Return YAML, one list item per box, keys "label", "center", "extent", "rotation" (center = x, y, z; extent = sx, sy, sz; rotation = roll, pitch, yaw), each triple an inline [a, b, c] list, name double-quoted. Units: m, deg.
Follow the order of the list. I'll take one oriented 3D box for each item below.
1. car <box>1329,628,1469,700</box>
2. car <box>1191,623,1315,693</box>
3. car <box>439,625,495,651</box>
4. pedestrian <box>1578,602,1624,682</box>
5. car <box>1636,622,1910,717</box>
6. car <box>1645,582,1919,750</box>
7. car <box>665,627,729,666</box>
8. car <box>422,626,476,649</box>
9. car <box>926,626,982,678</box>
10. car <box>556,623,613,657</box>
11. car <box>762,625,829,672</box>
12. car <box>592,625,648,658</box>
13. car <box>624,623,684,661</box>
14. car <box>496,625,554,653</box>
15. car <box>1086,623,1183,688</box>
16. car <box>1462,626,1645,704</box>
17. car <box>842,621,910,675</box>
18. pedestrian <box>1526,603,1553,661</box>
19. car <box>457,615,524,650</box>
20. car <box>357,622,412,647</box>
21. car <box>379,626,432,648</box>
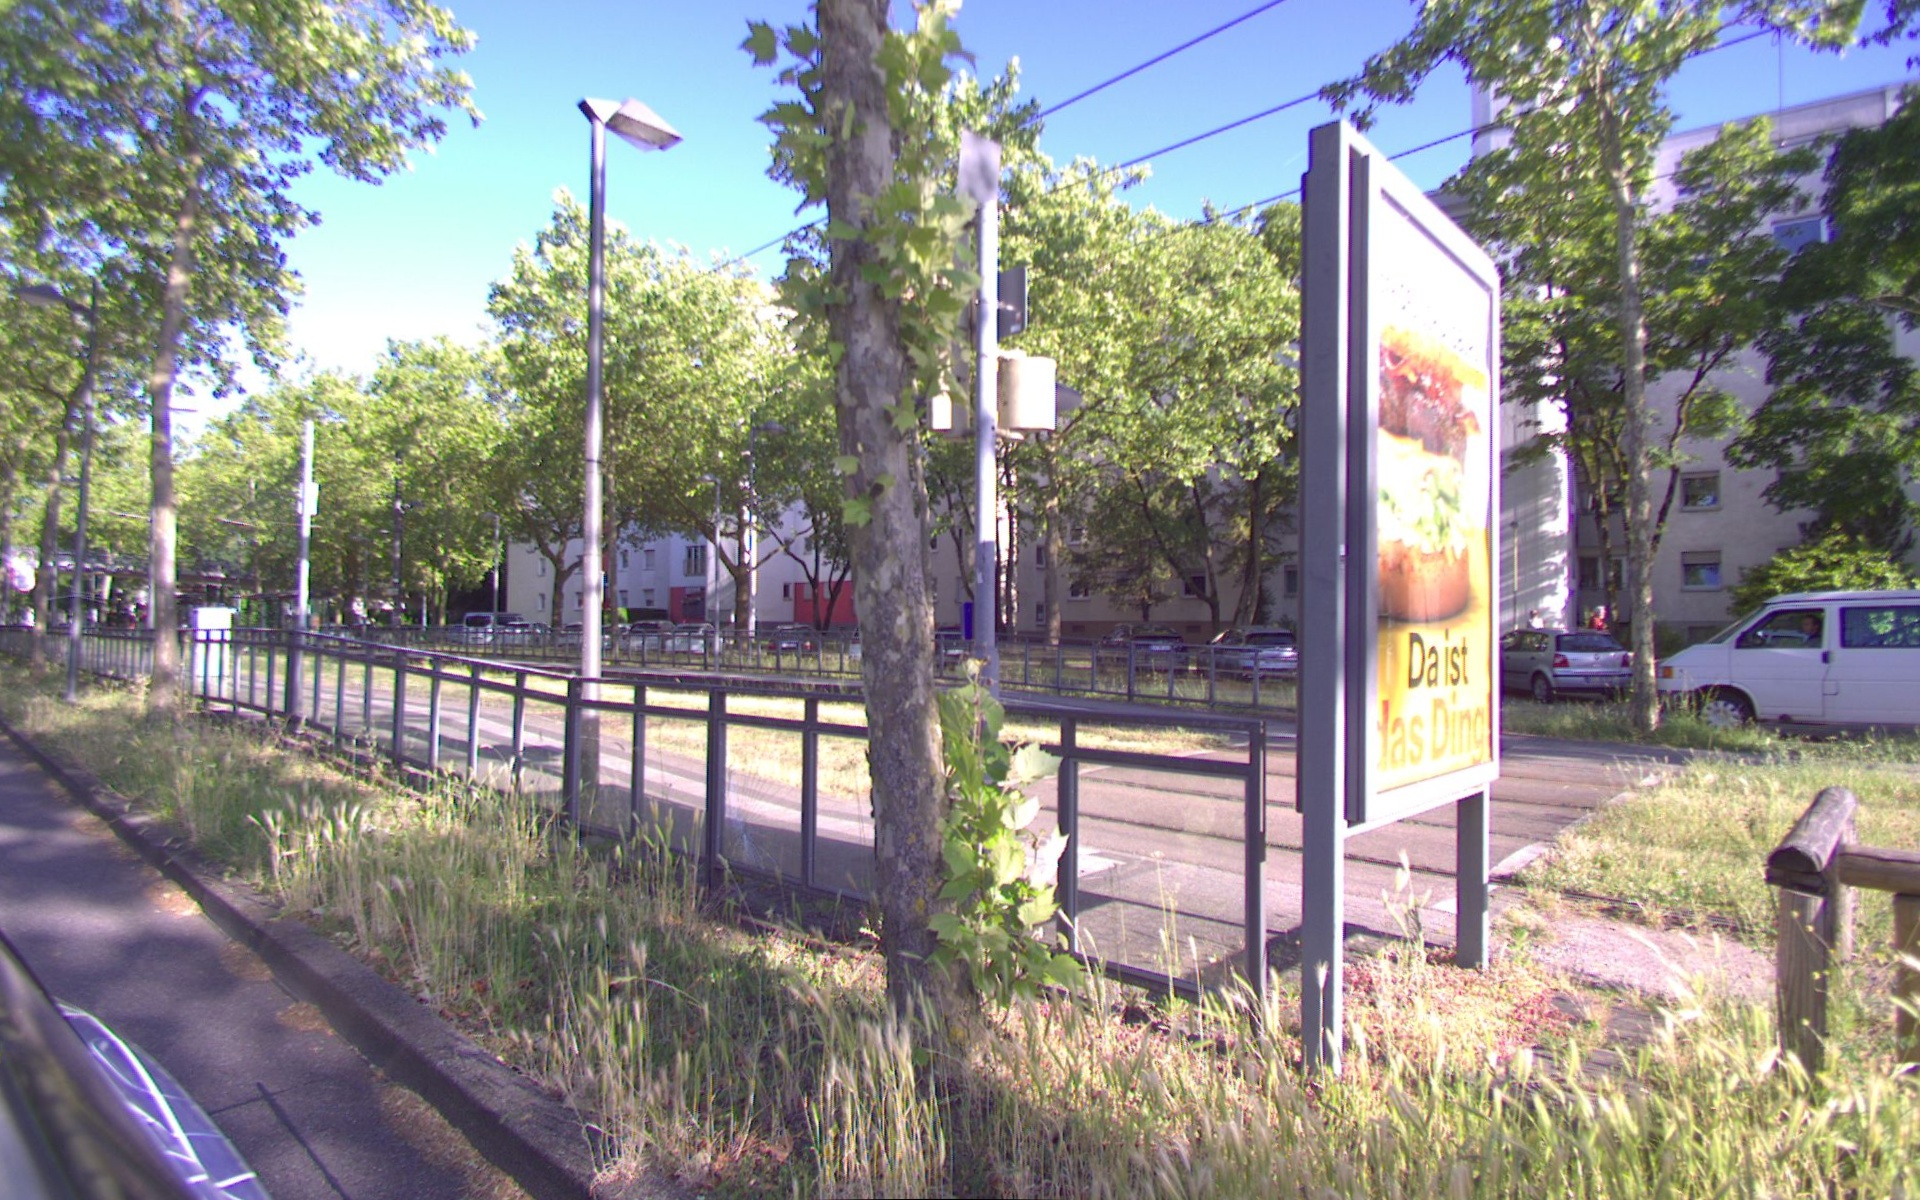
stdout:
- label: "car"
  center: [9.722, 1.365, 22.717]
  extent: [1.572, 1.360, 3.922]
  rotation: [-1, 0, 3]
- label: "car"
  center: [7.169, 1.370, 25.187]
  extent: [1.650, 1.469, 4.004]
  rotation: [-1, 0, -4]
- label: "car"
  center: [-27.666, 2.116, 56.908]
  extent: [1.459, 1.354, 3.487]
  rotation: [0, -1, -1]
- label: "pedestrian"
  center: [14.706, 0.953, 23.213]
  extent: [0.755, 1.770, 0.752]
  rotation: [-1, -2, 42]
- label: "car"
  center: [14.559, 1.178, 18.458]
  extent: [1.685, 1.454, 3.978]
  rotation: [-1, 0, -1]
- label: "car"
  center: [11.810, 0.814, 13.105]
  extent: [4.651, 2.007, 1.772]
  rotation: [-1, -2, 42]
- label: "car"
  center: [-10.897, 1.912, 42.119]
  extent: [1.470, 1.425, 3.880]
  rotation: [-1, 0, 3]
- label: "car"
  center: [-30.032, 2.212, 59.610]
  extent: [1.459, 1.311, 3.487]
  rotation: [0, -1, -1]
- label: "car"
  center: [-0.144, 1.593, 32.054]
  extent: [1.538, 1.439, 3.761]
  rotation: [-1, 0, 3]
- label: "car"
  center: [-17.993, 1.896, 48.620]
  extent: [1.539, 1.436, 3.489]
  rotation: [-3, 0, -2]
- label: "car"
  center: [-5.940, 1.714, 37.028]
  extent: [1.609, 1.499, 3.996]
  rotation: [-1, 0, 3]
- label: "car"
  center: [-15.725, 1.897, 46.951]
  extent: [1.459, 1.339, 3.488]
  rotation: [-2, 0, -1]
- label: "car"
  center: [-13.434, 1.816, 44.584]
  extent: [1.445, 1.519, 3.393]
  rotation: [-1, 0, 3]
- label: "car"
  center: [-22.652, 1.996, 52.812]
  extent: [1.605, 1.414, 3.487]
  rotation: [0, -1, -1]
- label: "car"
  center: [4.602, 1.425, 27.261]
  extent: [1.669, 1.499, 4.003]
  rotation: [-1, 0, -3]
- label: "car"
  center: [12.117, 1.271, 20.948]
  extent: [1.553, 1.431, 3.620]
  rotation: [-1, -1, -1]
- label: "car"
  center: [-2.810, 1.589, 34.513]
  extent: [1.791, 1.607, 3.996]
  rotation: [-1, 0, 3]
- label: "pedestrian"
  center: [17.975, 0.993, 31.390]
  extent: [0.634, 1.770, 0.516]
  rotation: [-1, -2, 39]
- label: "car"
  center: [-25.340, 1.739, 54.774]
  extent: [1.843, 1.826, 4.048]
  rotation: [0, -1, -1]
- label: "car"
  center: [-37.337, 2.202, 65.732]
  extent: [1.578, 1.582, 3.830]
  rotation: [0, -1, -3]
- label: "car"
  center: [-34.780, 2.305, 63.539]
  extent: [1.459, 1.330, 3.487]
  rotation: [0, -1, -1]
